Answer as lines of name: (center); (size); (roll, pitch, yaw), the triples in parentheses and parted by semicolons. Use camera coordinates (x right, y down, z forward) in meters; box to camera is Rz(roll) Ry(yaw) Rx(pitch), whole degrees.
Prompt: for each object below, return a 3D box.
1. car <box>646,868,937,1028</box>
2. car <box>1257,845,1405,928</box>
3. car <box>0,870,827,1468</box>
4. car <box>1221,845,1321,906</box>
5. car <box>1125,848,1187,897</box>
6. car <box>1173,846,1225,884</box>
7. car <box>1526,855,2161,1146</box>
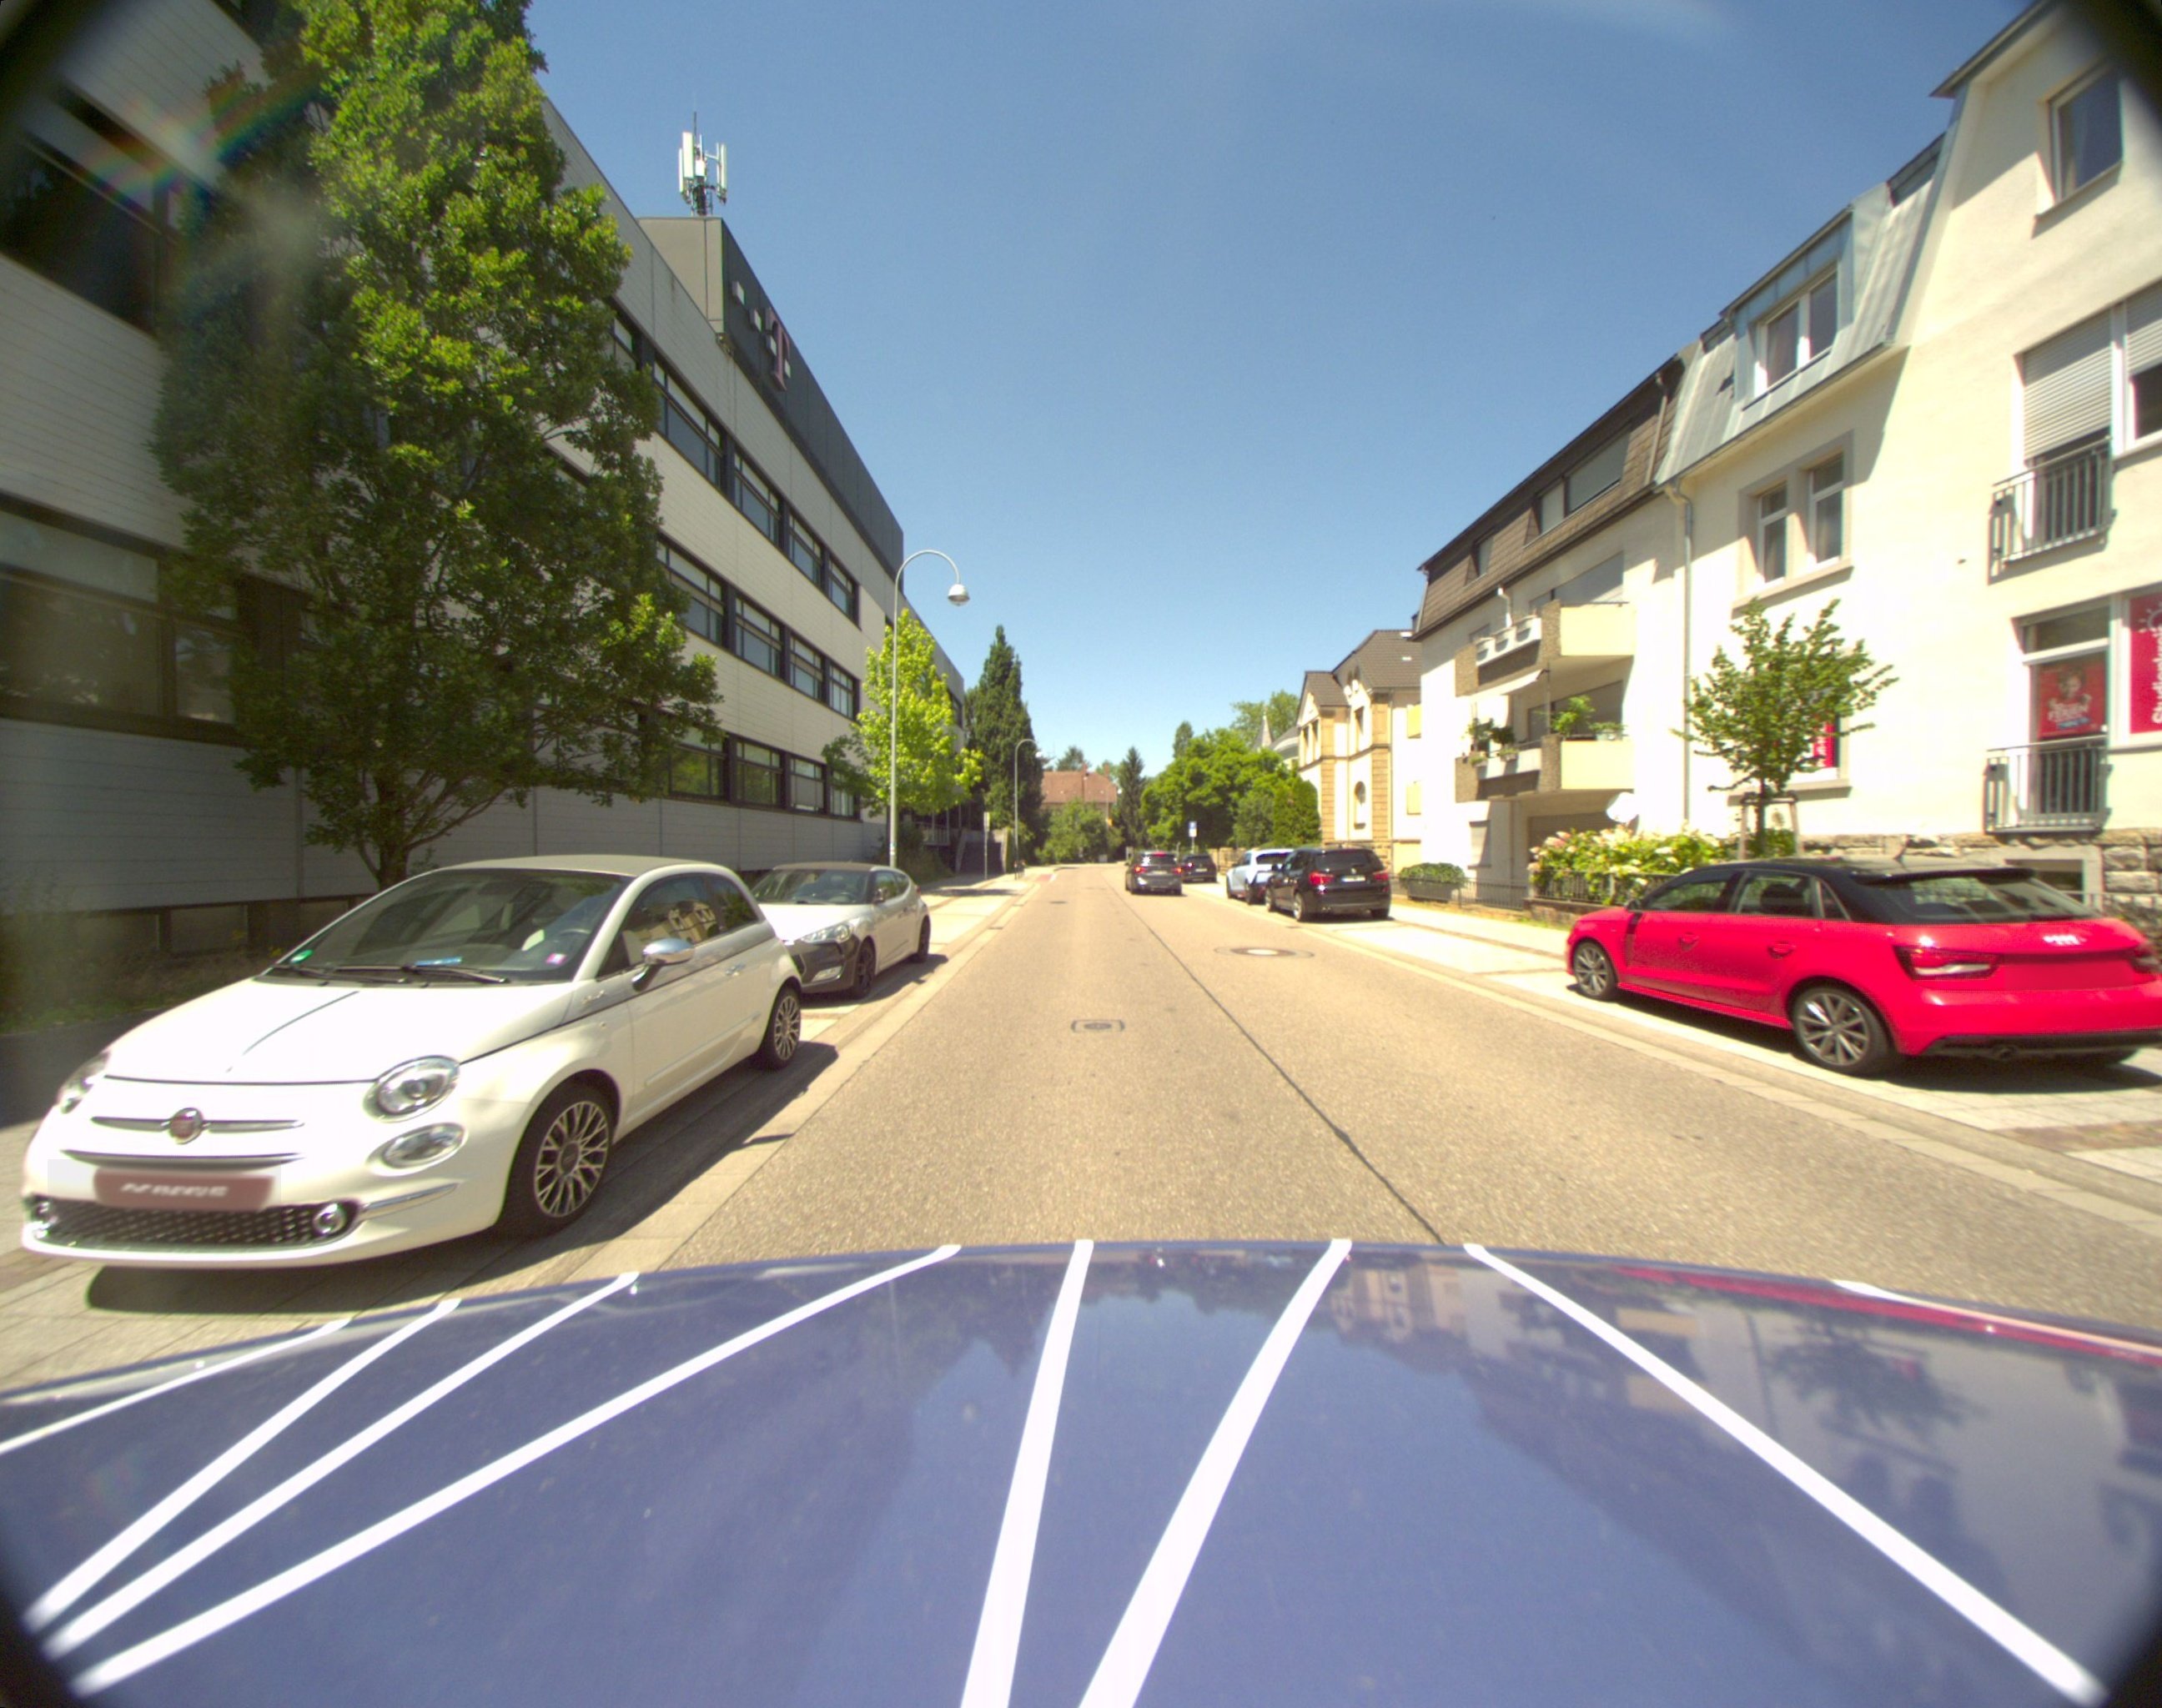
car: (-3.059, 0.905, 9.027); (1.841, 1.357, 4.000); (1, 1, 2)
car: (5.553, 0.643, 17.555); (1.925, 1.577, 4.435); (-3, 1, 1)
car: (-2.852, 0.895, 3.987); (1.715, 1.490, 3.876); (1, 1, 0)
car: (5.632, 0.572, 23.071); (1.925, 1.577, 4.287); (-3, 1, 1)
car: (2.702, 0.616, 28.251); (1.925, 1.668, 4.286); (0, 1, 0)
car: (5.758, 0.496, 37.461); (1.925, 1.681, 4.287); (-3, 1, 2)
car: (5.799, 0.804, 6.262); (1.737, 1.444, 4.259); (-3, 1, 1)
